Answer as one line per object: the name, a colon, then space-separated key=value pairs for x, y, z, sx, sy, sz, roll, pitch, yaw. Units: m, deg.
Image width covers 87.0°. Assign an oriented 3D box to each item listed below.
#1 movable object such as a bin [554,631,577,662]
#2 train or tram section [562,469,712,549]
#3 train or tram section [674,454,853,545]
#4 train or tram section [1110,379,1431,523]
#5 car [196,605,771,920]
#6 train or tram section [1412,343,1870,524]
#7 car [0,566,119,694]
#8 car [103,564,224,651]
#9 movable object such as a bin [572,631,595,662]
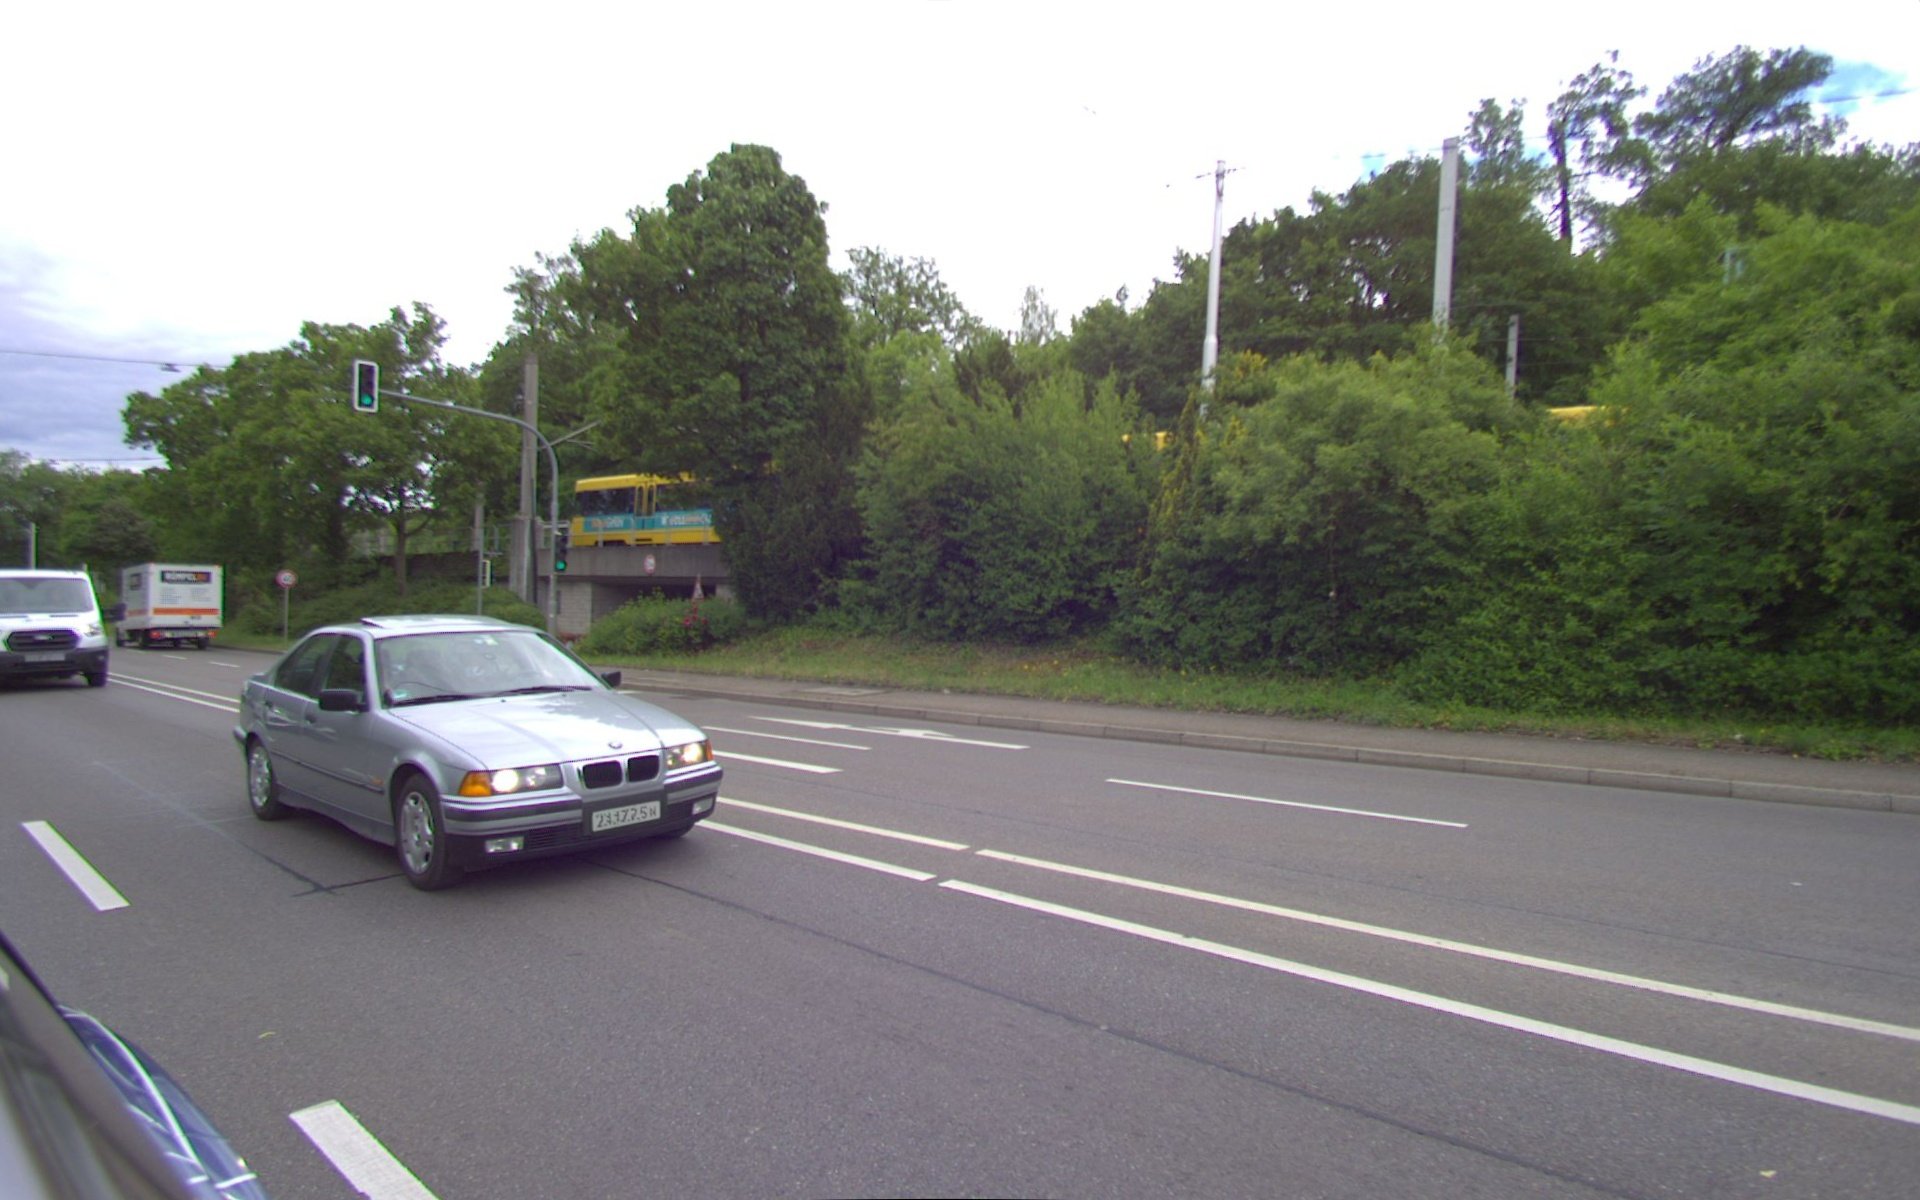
movable object such as a bin: x=-14.023 y=1.657 z=35.997 sx=0.563 sy=1.107 sz=0.537 roll=0 pitch=-3 yaw=40
train or tram section: x=-14.344 y=-3.868 z=44.572 sx=8.139 sy=3.066 sz=2.038 roll=1 pitch=2 yaw=37
train or tram section: x=-7.833 y=-3.769 z=39.592 sx=8.139 sy=3.066 sz=2.038 roll=1 pitch=2 yaw=37
train or tram section: x=8.133 y=-3.794 z=27.424 sx=8.142 sy=3.066 sz=2.037 roll=1 pitch=2 yaw=38
car: x=-3.394 y=0.747 z=6.705 sx=4.612 sy=1.404 sz=1.734 roll=0 pitch=-1 yaw=41
train or tram section: x=14.618 y=-3.392 z=22.478 sx=8.142 sy=3.066 sz=2.037 roll=1 pitch=2 yaw=38
car: x=-18.398 y=0.512 z=19.499 sx=6.663 sy=2.142 sz=2.225 roll=0 pitch=0 yaw=40
car: x=-30.721 y=0.264 z=38.919 sx=7.230 sy=3.079 sz=2.247 roll=0 pitch=0 yaw=40
movable object such as a bin: x=-13.558 y=1.681 z=36.475 sx=0.563 sy=1.085 sz=0.537 roll=0 pitch=-3 yaw=40
